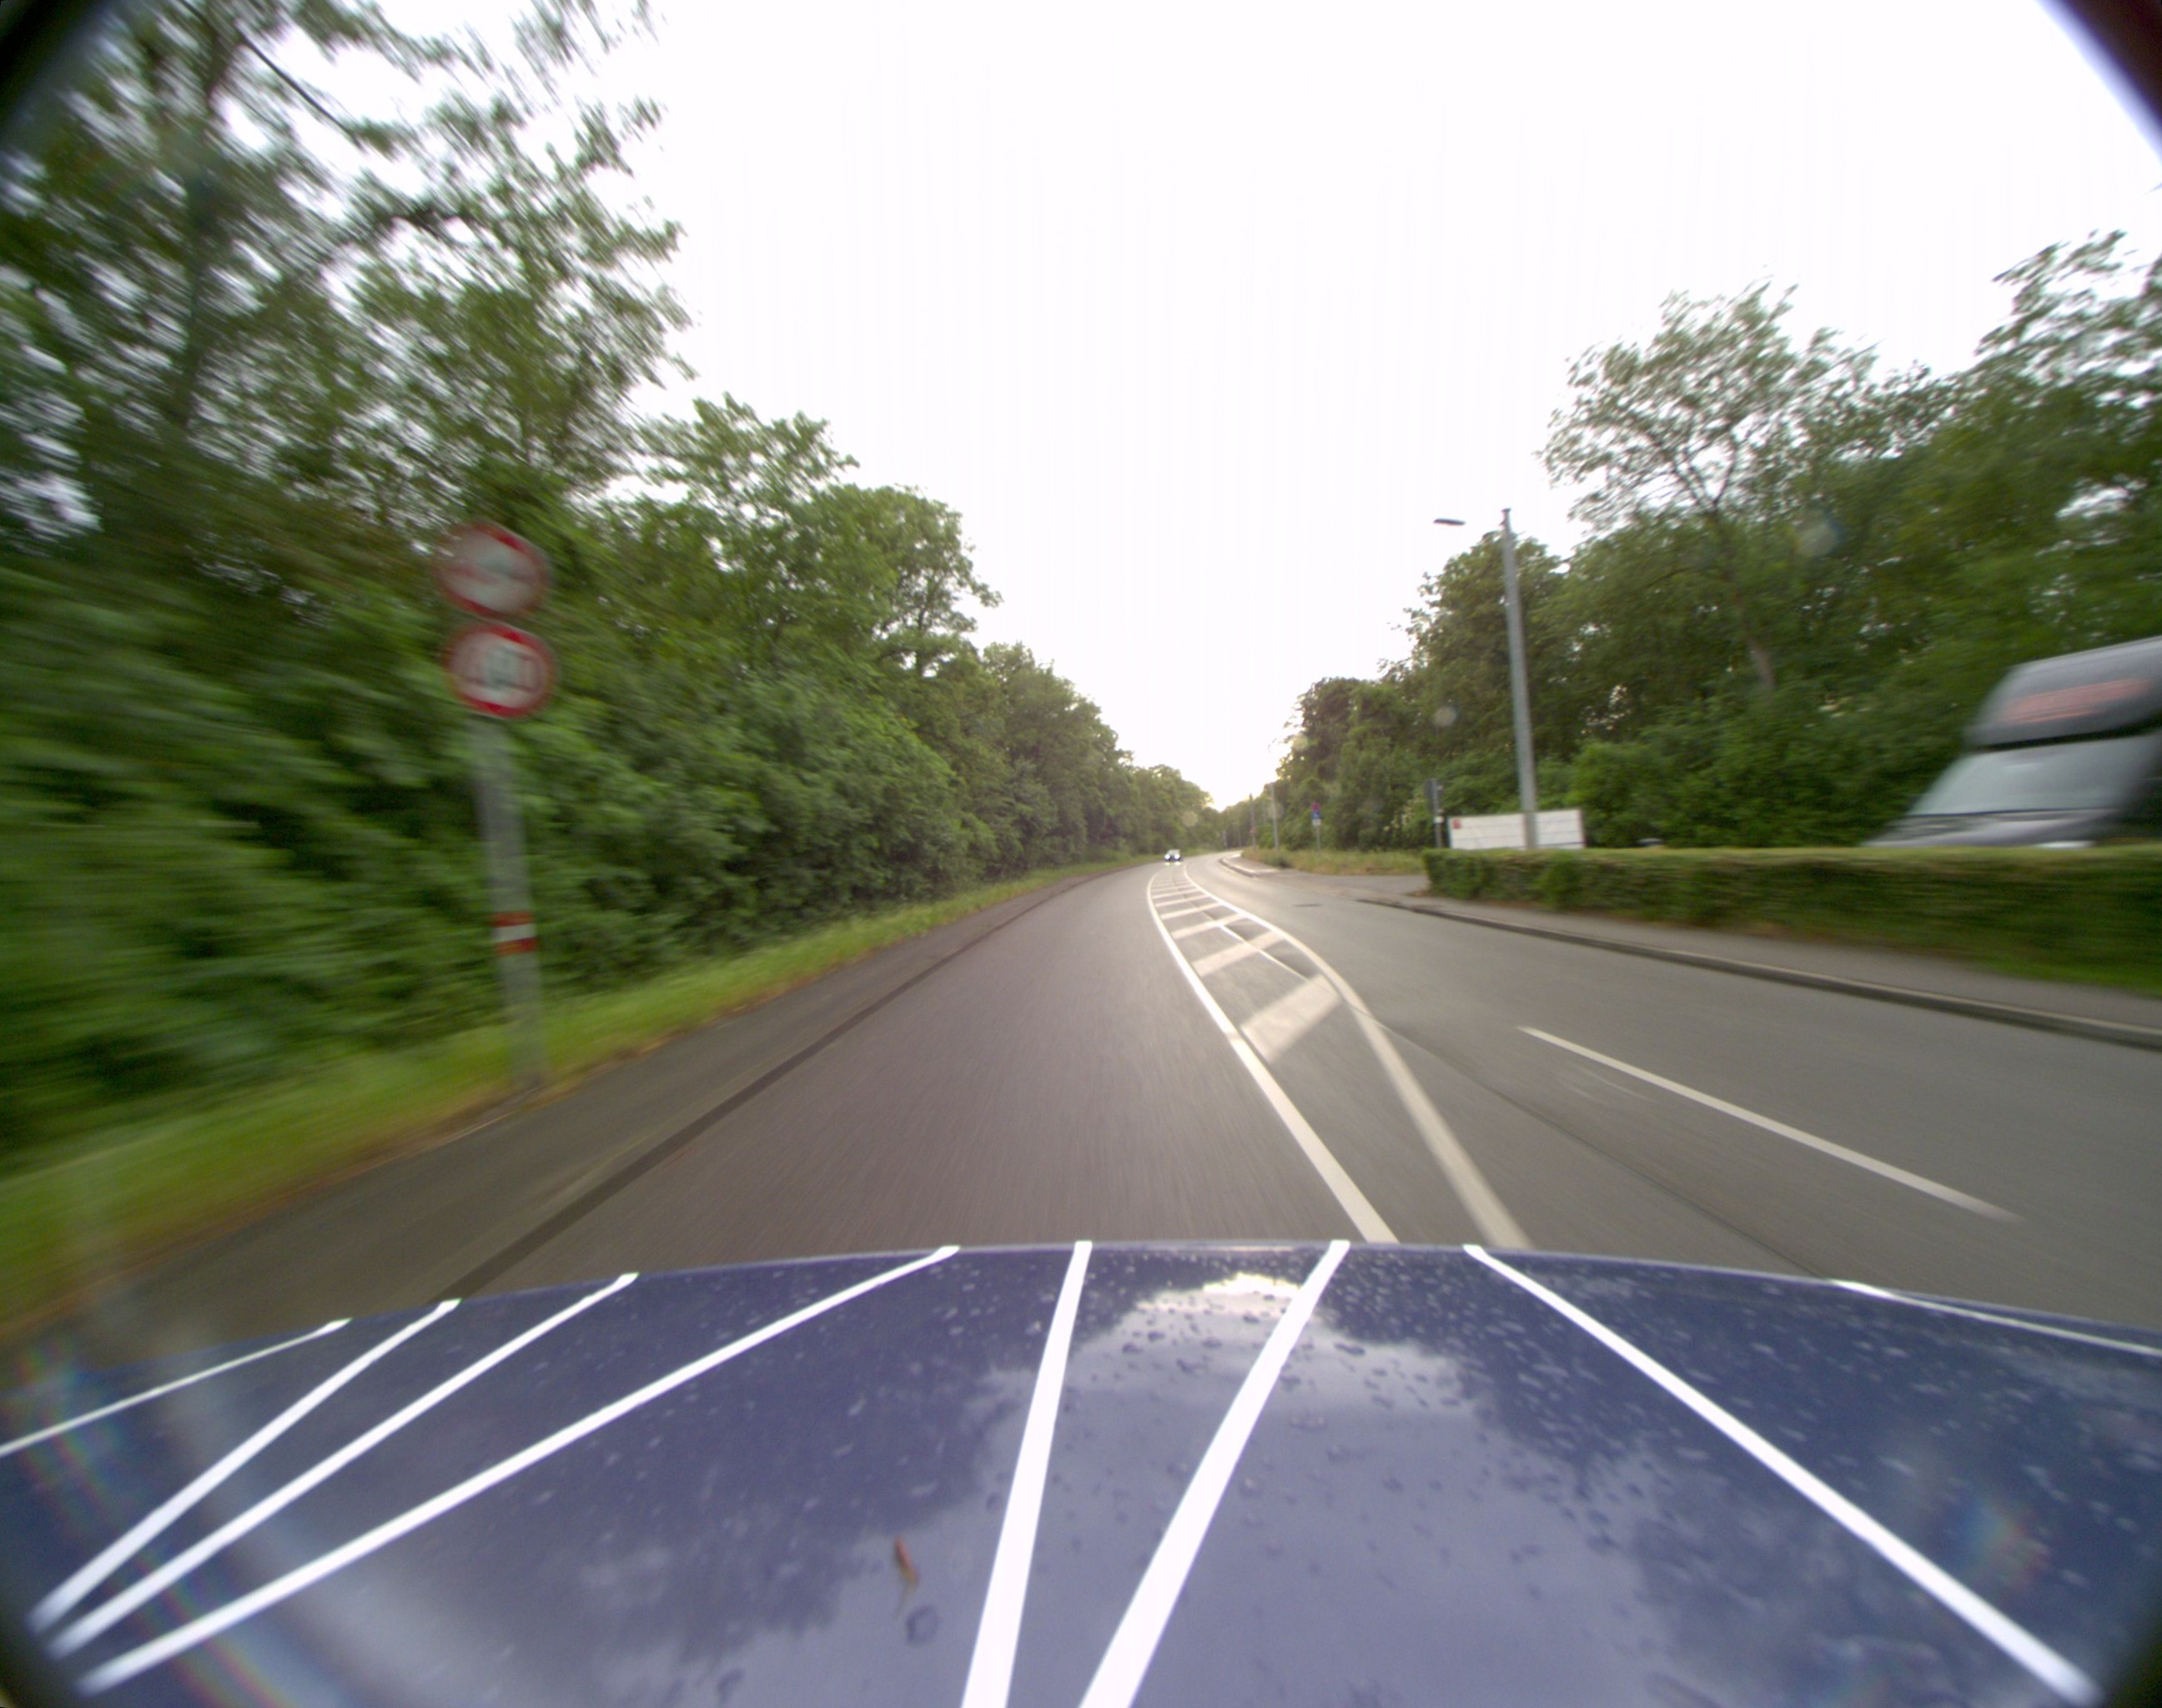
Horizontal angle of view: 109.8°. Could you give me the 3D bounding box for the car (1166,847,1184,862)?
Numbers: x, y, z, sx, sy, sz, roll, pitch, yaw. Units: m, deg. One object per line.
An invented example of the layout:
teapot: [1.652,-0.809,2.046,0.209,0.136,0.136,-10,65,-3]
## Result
car: [11.517,0.092,92.948,1.997,1.674,4.002,-3,1,10]

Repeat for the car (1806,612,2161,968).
car: [12.182,-0.752,8.125,6.289,3.096,2.751,-3,1,-2]
